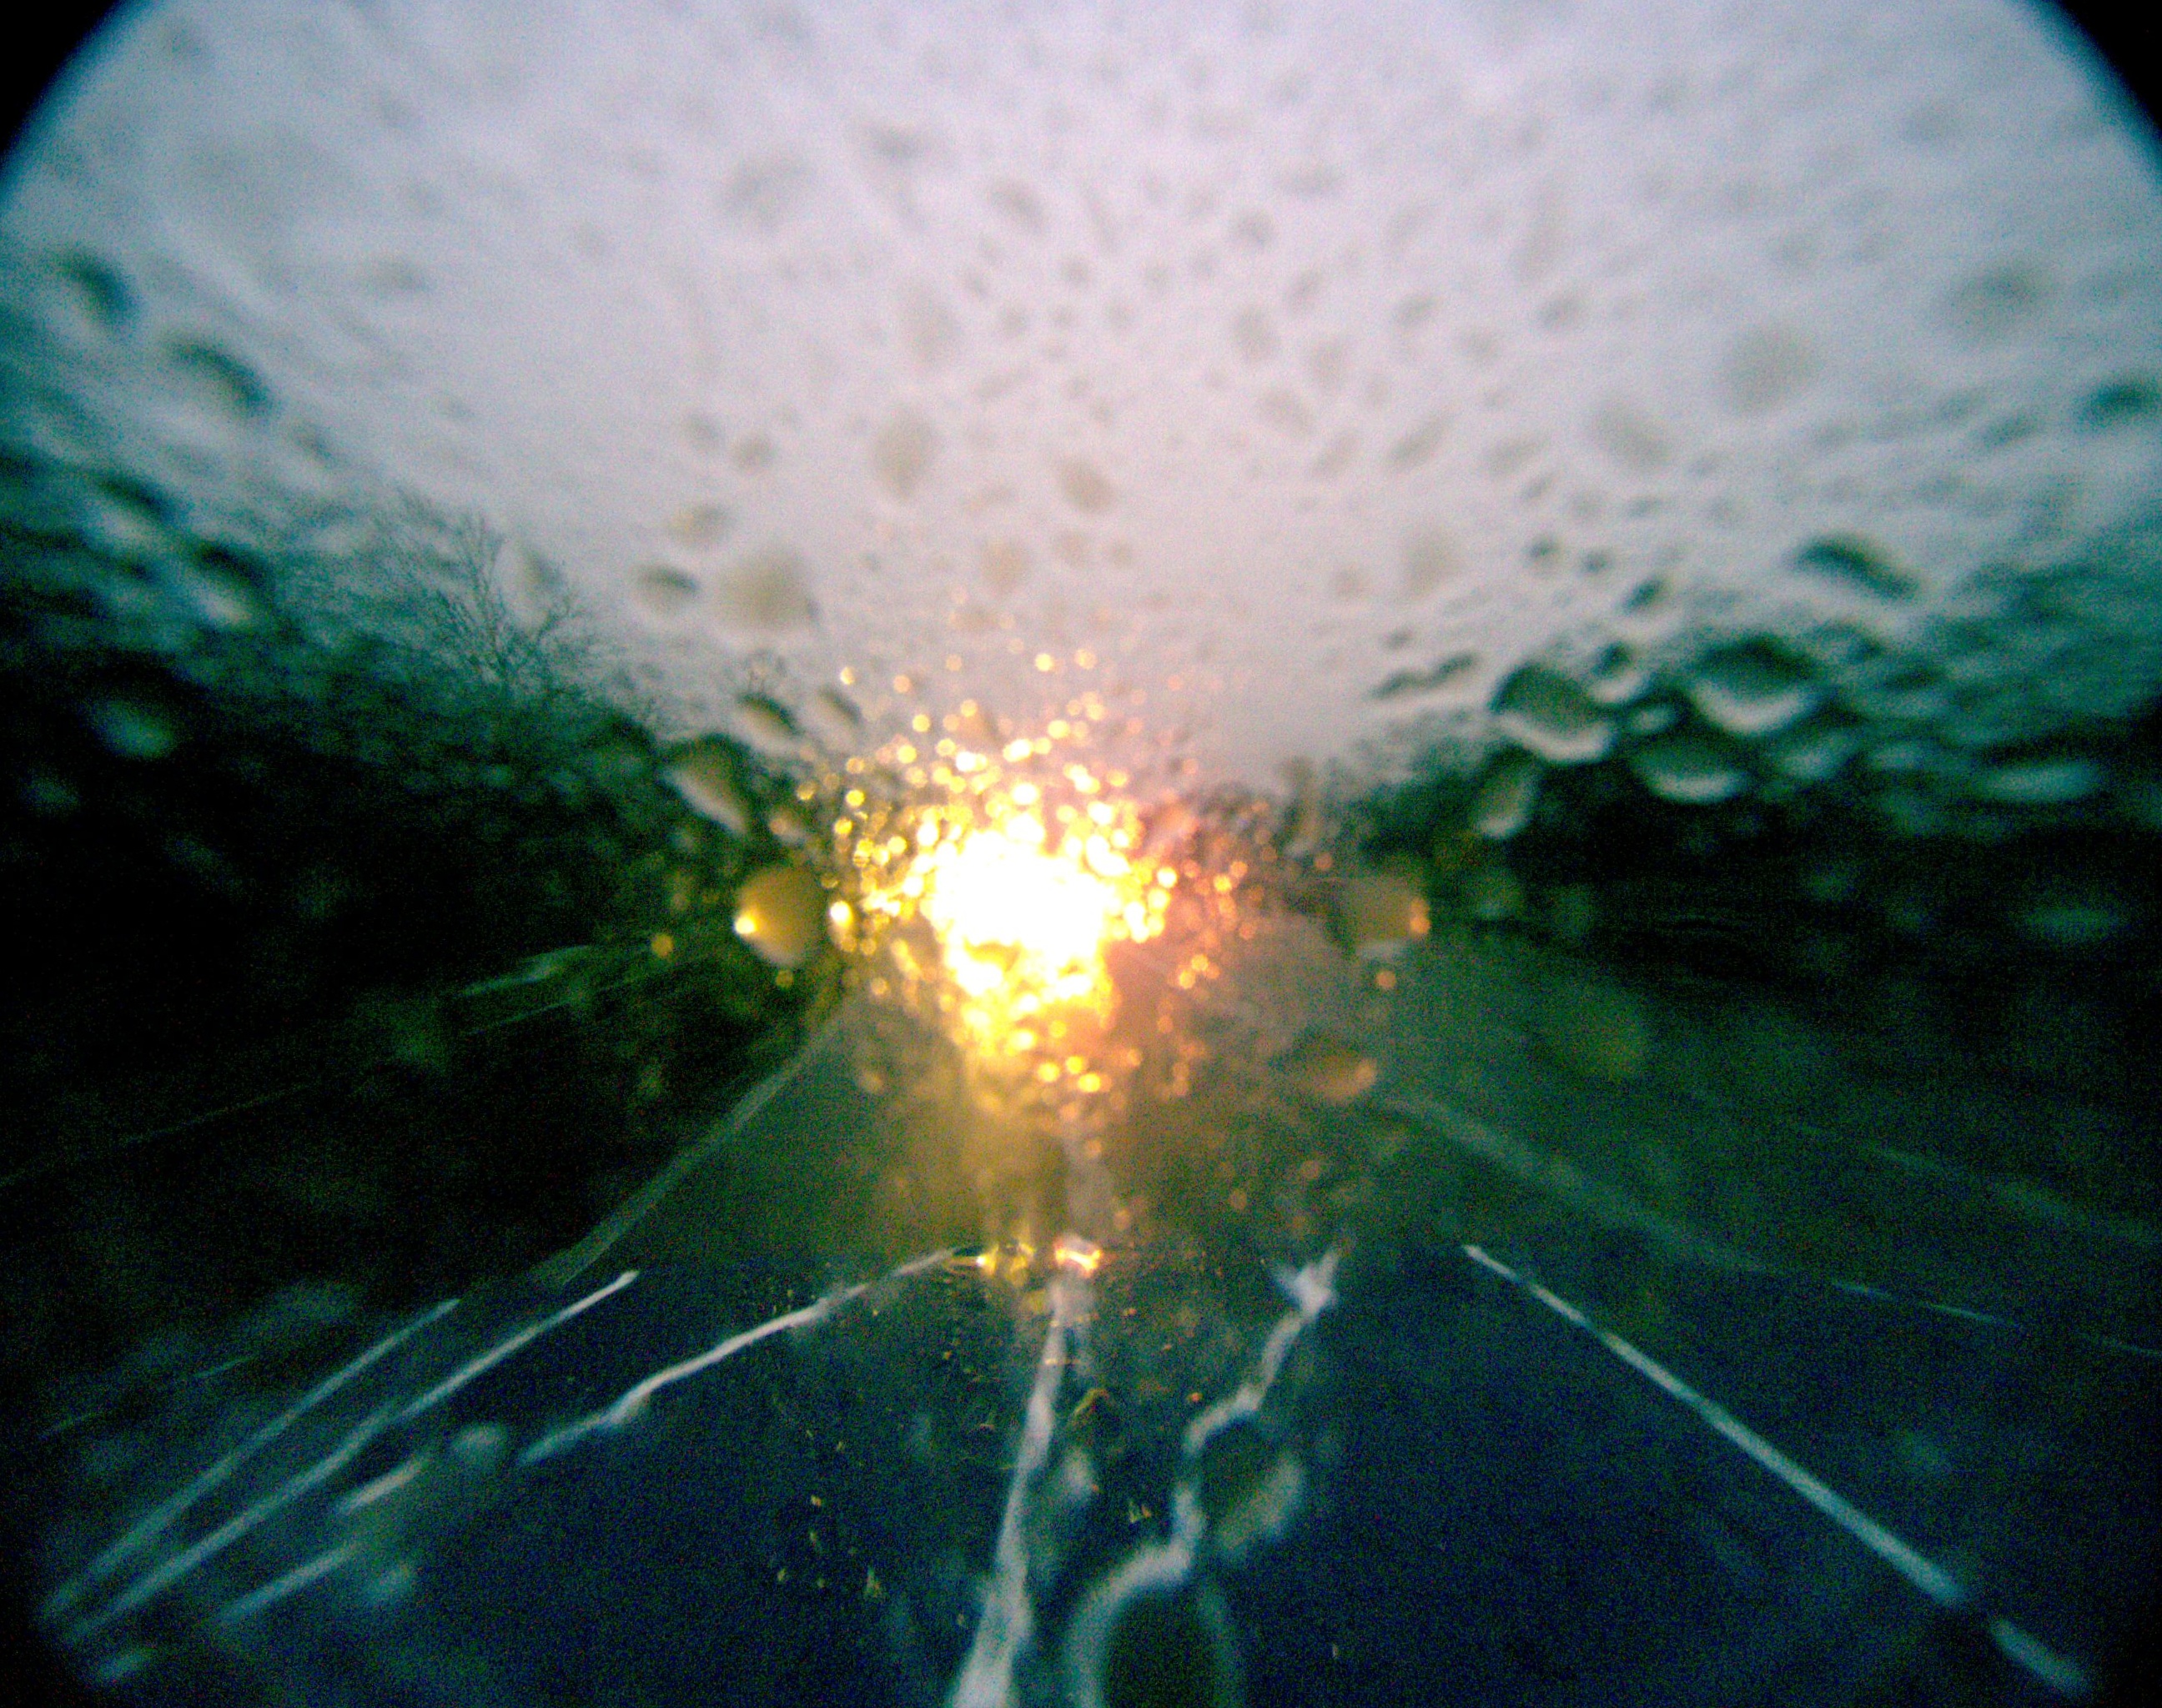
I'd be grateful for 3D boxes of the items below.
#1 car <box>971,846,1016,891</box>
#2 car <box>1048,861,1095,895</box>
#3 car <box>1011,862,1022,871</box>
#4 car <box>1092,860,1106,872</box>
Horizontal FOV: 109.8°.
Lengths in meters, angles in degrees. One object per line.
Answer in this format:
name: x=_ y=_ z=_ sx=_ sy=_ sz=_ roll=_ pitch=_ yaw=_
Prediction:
car: x=-4.307 y=0.706 z=37.770 sx=1.999 sy=2.001 sz=3.962 roll=3 pitch=-1 yaw=-5
car: x=-0.506 y=1.093 z=36.071 sx=1.656 sy=1.502 sz=3.871 roll=1 pitch=-1 yaw=-9
car: x=-11.790 y=2.225 z=138.080 sx=1.692 sy=1.642 sz=3.997 roll=0 pitch=0 yaw=-8
car: x=3.251 y=2.250 z=138.387 sx=1.999 sy=2.002 sz=3.997 roll=1 pitch=1 yaw=-6
